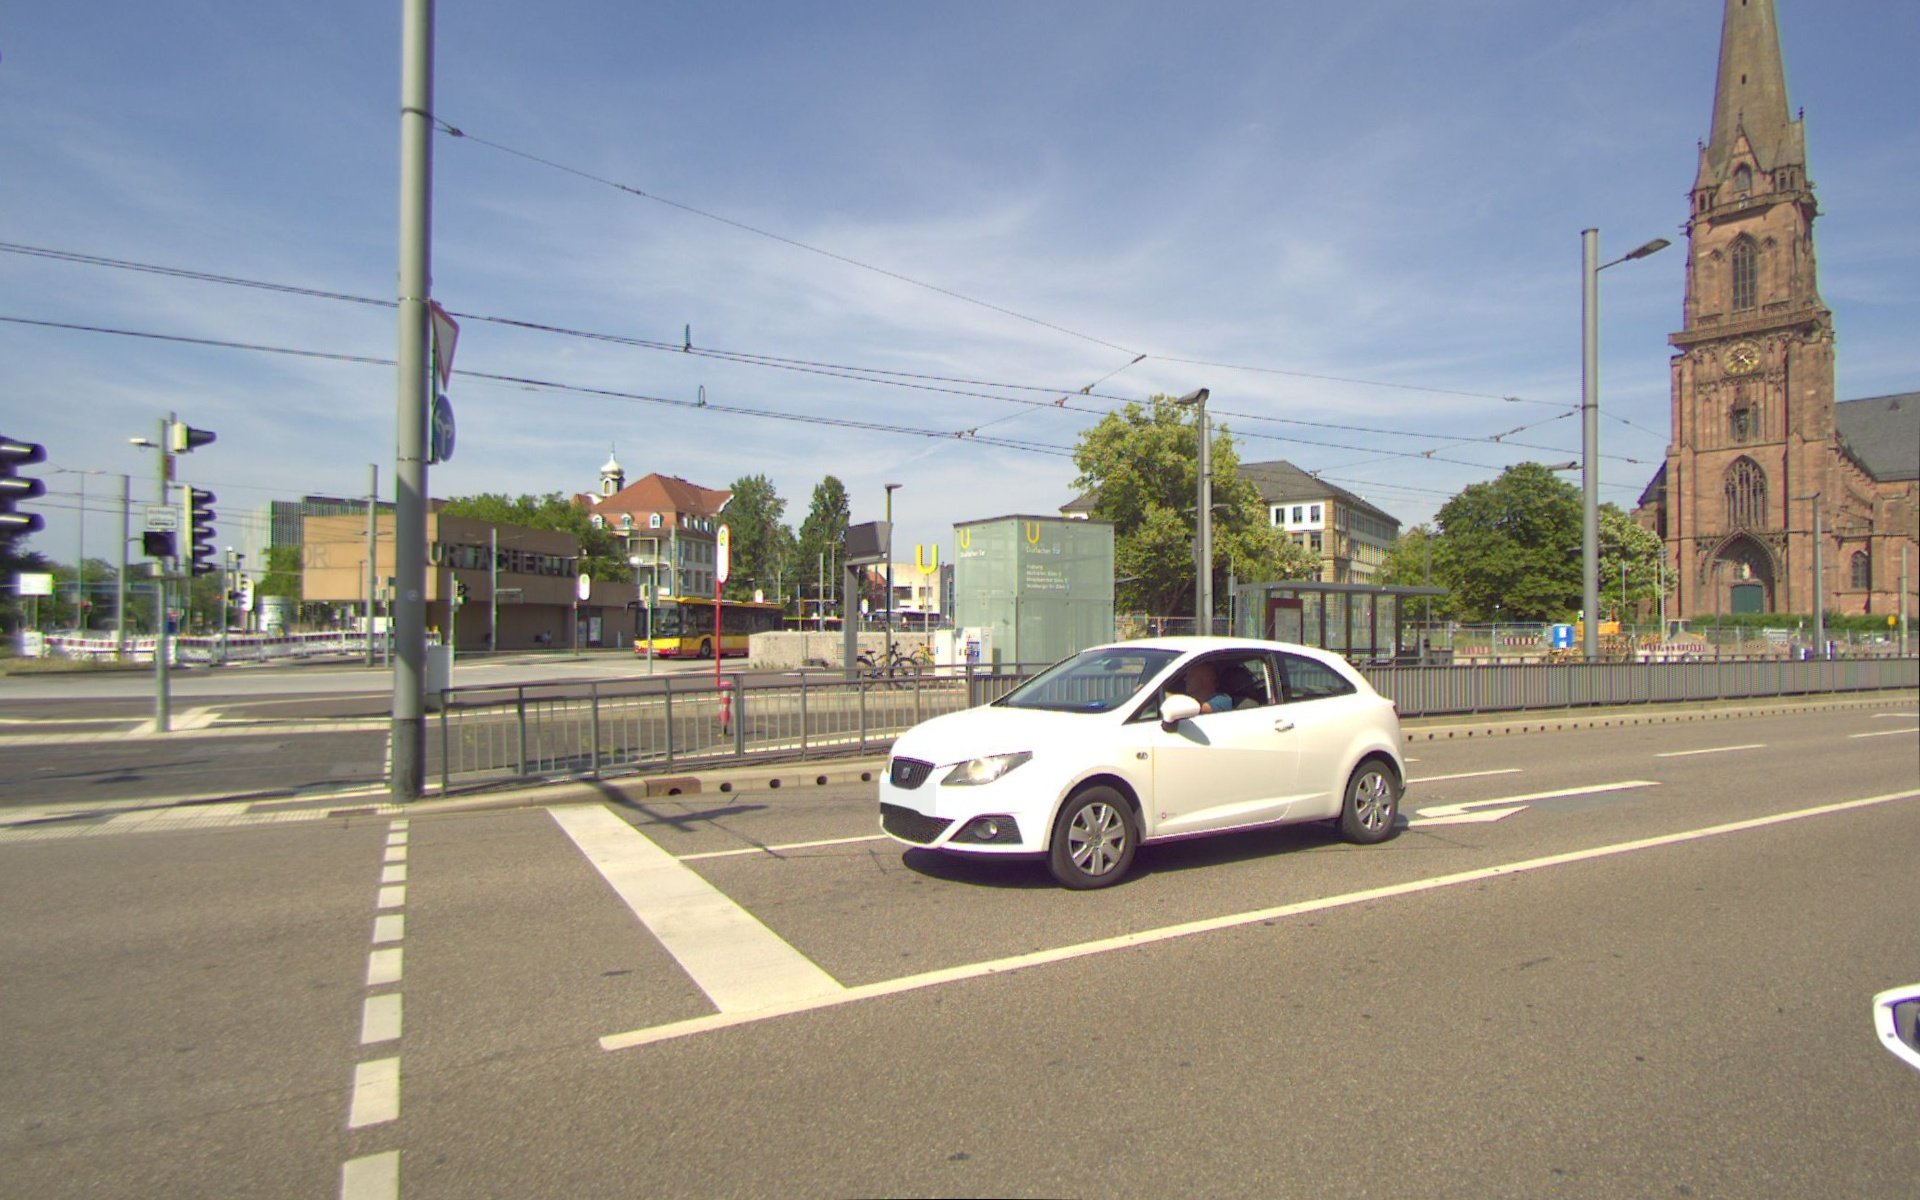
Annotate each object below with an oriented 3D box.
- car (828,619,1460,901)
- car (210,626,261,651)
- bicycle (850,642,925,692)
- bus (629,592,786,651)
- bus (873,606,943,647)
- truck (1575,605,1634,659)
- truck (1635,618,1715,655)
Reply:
[{"bbox_3d":[1.332,0.902,6.873,4.076,1.416,1.747,1,-5,-30],"label":"car"},{"bbox_3d":[-45.288,2.384,62.872,1.778,1.439,3.977,-2,-1,-24],"label":"car"},{"bbox_3d":[-1.663,1.531,23.038,1.634,1.085,0.413,-2,-2,-12],"label":"bicycle"},{"bbox_3d":[-12.970,1.040,53.222,2.703,2.718,11.794,-2,-1,14],"label":"bus"},{"bbox_3d":[-4.394,2.363,88.430,2.703,3.366,11.796,0,-2,15],"label":"bus"},{"bbox_3d":[45.168,2.225,70.373,2.981,3.616,6.019,-1,-2,37],"label":"truck"},{"bbox_3d":[54.222,2.754,76.280,2.353,2.714,4.386,1,-2,-25],"label":"truck"}]
